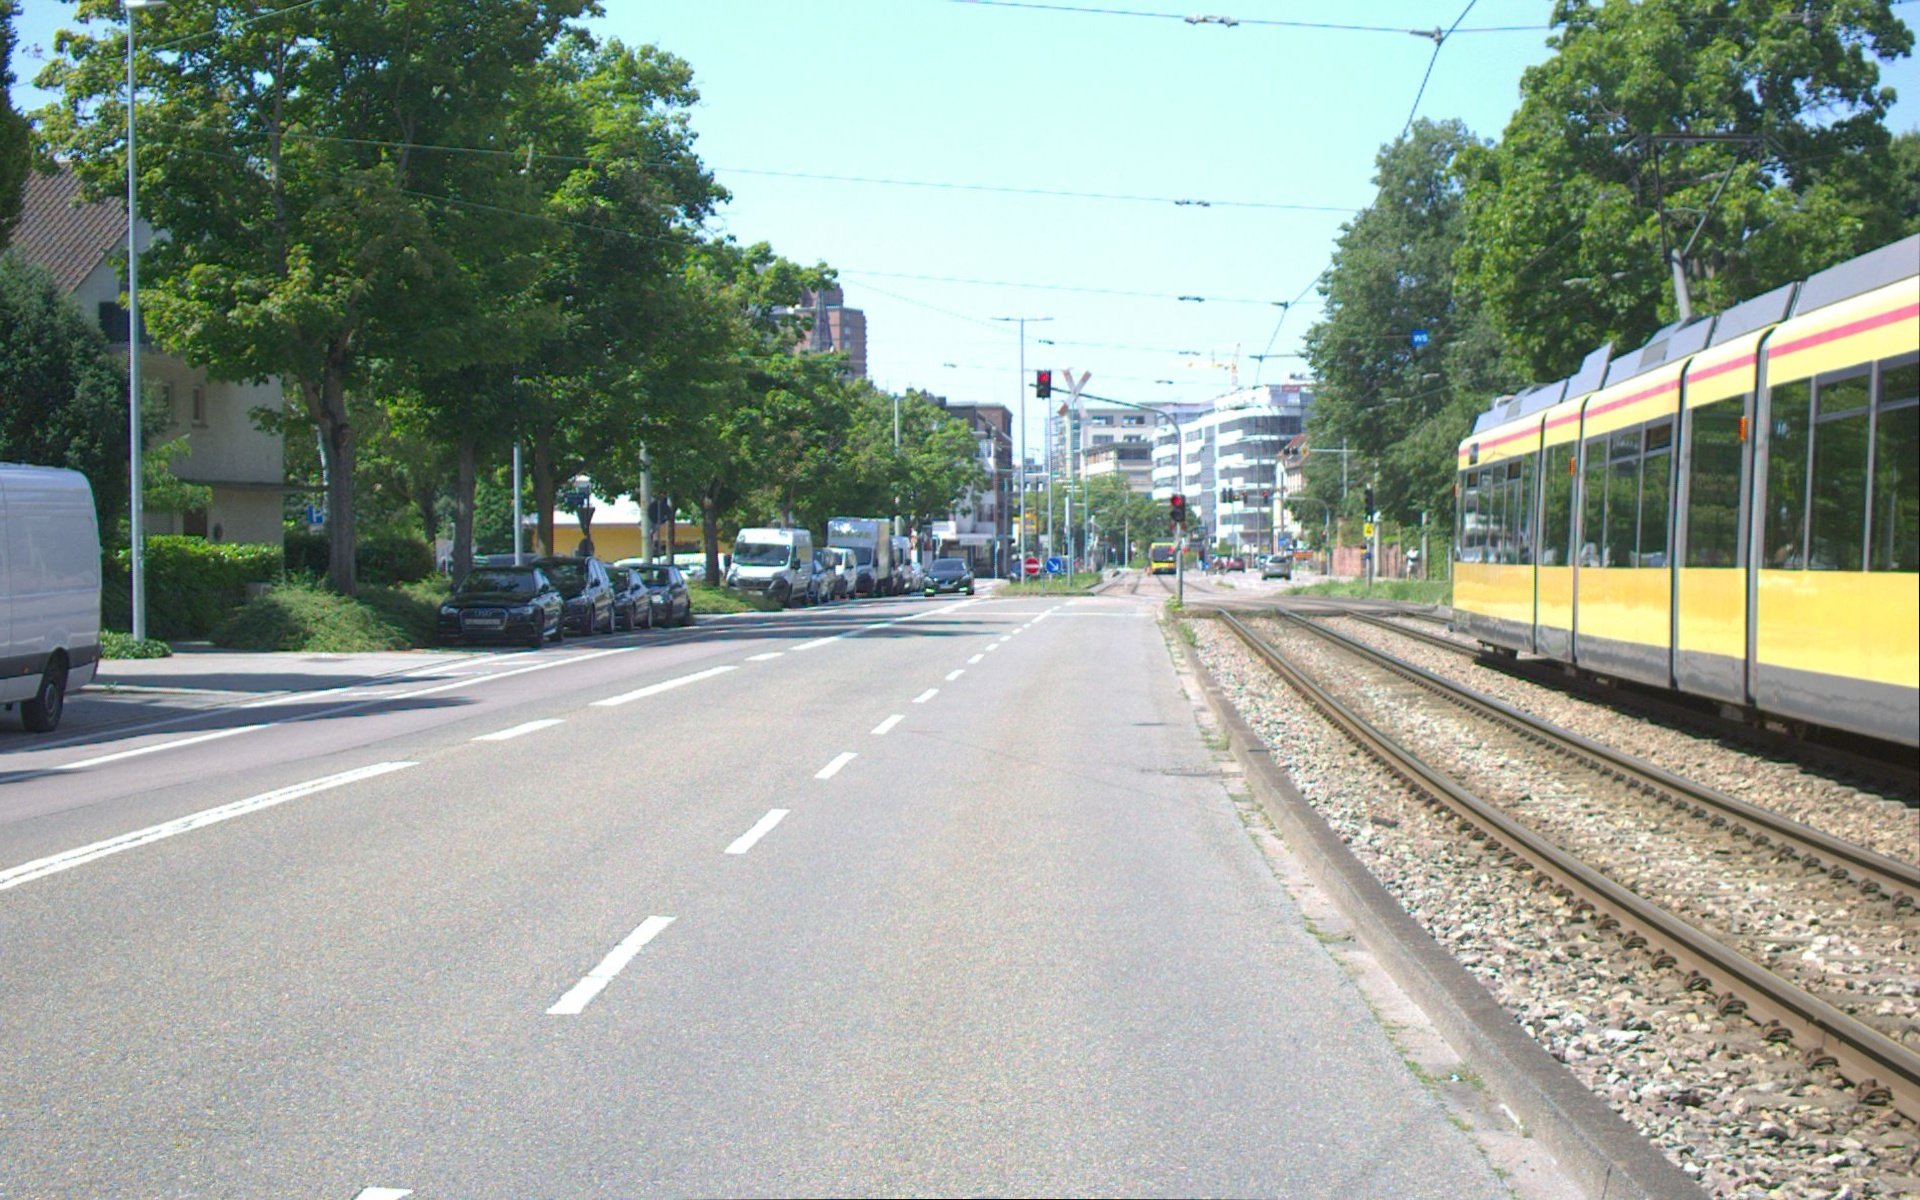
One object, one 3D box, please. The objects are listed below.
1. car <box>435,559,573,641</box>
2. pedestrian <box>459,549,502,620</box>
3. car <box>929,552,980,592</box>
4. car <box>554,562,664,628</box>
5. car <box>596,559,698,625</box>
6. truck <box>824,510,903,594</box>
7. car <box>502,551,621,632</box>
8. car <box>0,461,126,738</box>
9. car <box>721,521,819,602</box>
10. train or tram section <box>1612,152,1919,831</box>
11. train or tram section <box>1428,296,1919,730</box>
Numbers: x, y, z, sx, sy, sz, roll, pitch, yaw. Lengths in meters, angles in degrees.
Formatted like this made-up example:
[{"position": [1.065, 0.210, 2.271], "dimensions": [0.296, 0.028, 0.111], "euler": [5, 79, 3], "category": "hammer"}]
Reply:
[{"position": [-8.347, -0.033, 63.319], "dimensions": [1.775, 1.451, 4.804], "euler": [0, 1, 2], "category": "car"}, {"position": [-12.255, -0.397, 87.829], "dimensions": [0.974, 1.817, 0.794], "euler": [0, 1, 1], "category": "pedestrian"}, {"position": [-0.199, -1.071, 130.032], "dimensions": [1.775, 1.455, 4.195], "euler": [-2, 1, 2], "category": "car"}, {"position": [-7.775, -0.134, 76.505], "dimensions": [1.775, 1.368, 4.697], "euler": [2, 1, 2], "category": "car"}, {"position": [-7.354, -0.215, 81.061], "dimensions": [1.775, 1.476, 4.047], "euler": [2, 1, 3], "category": "car"}, {"position": [-3.855, -1.940, 138.961], "dimensions": [2.157, 3.199, 7.081], "euler": [3, 1, 6], "category": "truck"}, {"position": [-8.179, -0.200, 70.922], "dimensions": [1.775, 1.598, 4.637], "euler": [1, 1, 2], "category": "car"}, {"position": [-10.266, -0.077, 32.769], "dimensions": [2.324, 2.642, 7.034], "euler": [4, 1, 4], "category": "car"}, {"position": [-6.085, -1.242, 110.912], "dimensions": [2.157, 2.478, 6.191], "euler": [1, 1, 6], "category": "car"}, {"position": [6.735, -0.602, 20.221], "dimensions": [2.944, 3.679, 18.388], "euler": [1, 1, 2], "category": "train or tram section"}, {"position": [7.709, -0.896, 39.527], "dimensions": [2.944, 3.679, 20.282], "euler": [1, 1, 3], "category": "train or tram section"}]
